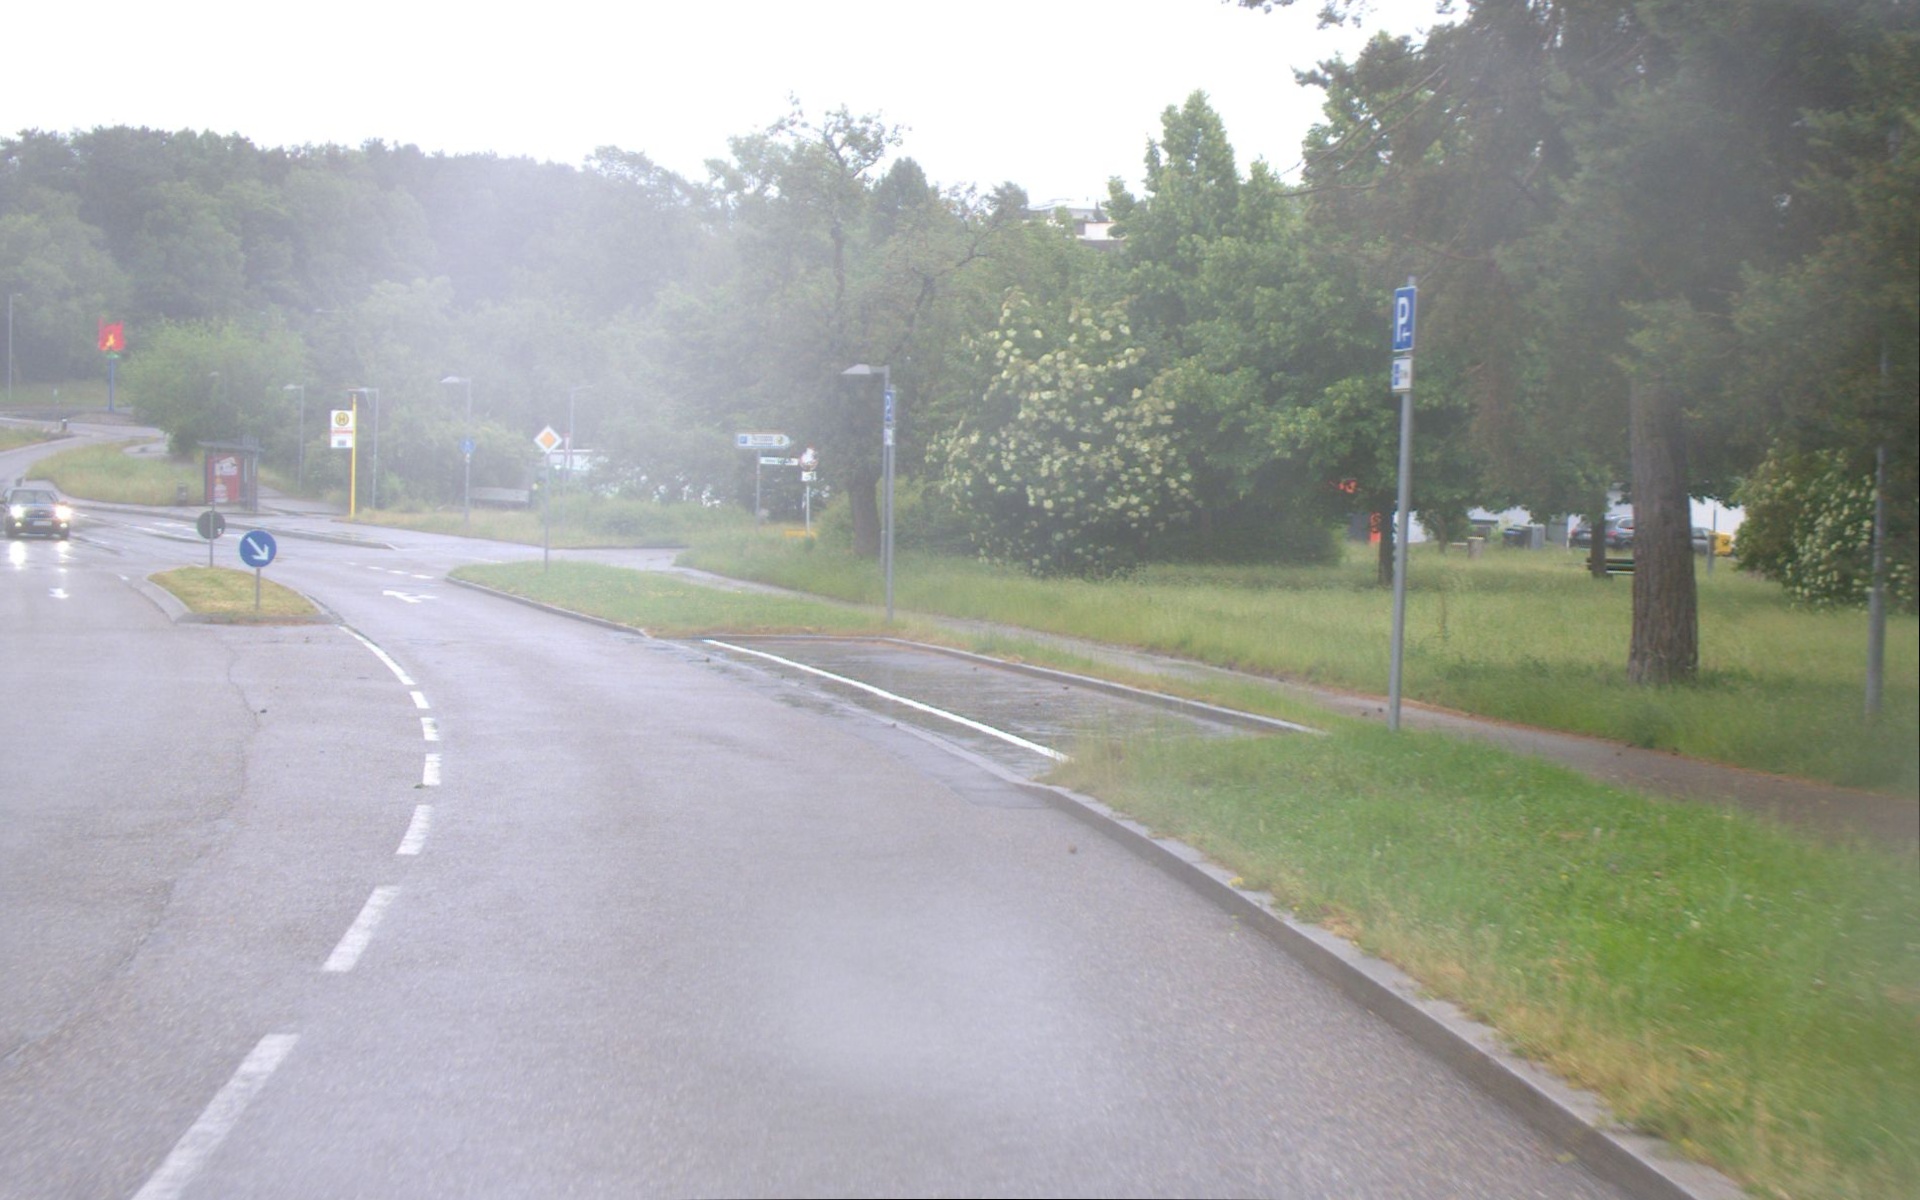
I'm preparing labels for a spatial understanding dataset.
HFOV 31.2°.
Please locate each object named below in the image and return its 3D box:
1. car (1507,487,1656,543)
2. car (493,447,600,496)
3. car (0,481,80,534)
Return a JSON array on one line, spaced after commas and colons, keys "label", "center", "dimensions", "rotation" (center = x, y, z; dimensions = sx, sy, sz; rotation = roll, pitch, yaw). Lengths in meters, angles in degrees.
[{"label": "car", "center": [20.953, -2.854, 116.021], "dimensions": [4.554, 1.744, 1.908], "rotation": [-1, 1, 41]}, {"label": "car", "center": [-15.438, -4.791, 128.326], "dimensions": [3.417, 1.684, 1.997], "rotation": [0, -2, 28]}, {"label": "car", "center": [-26.503, -2.659, 98.490], "dimensions": [1.455, 1.351, 3.534], "rotation": [2, 2, -32]}]
